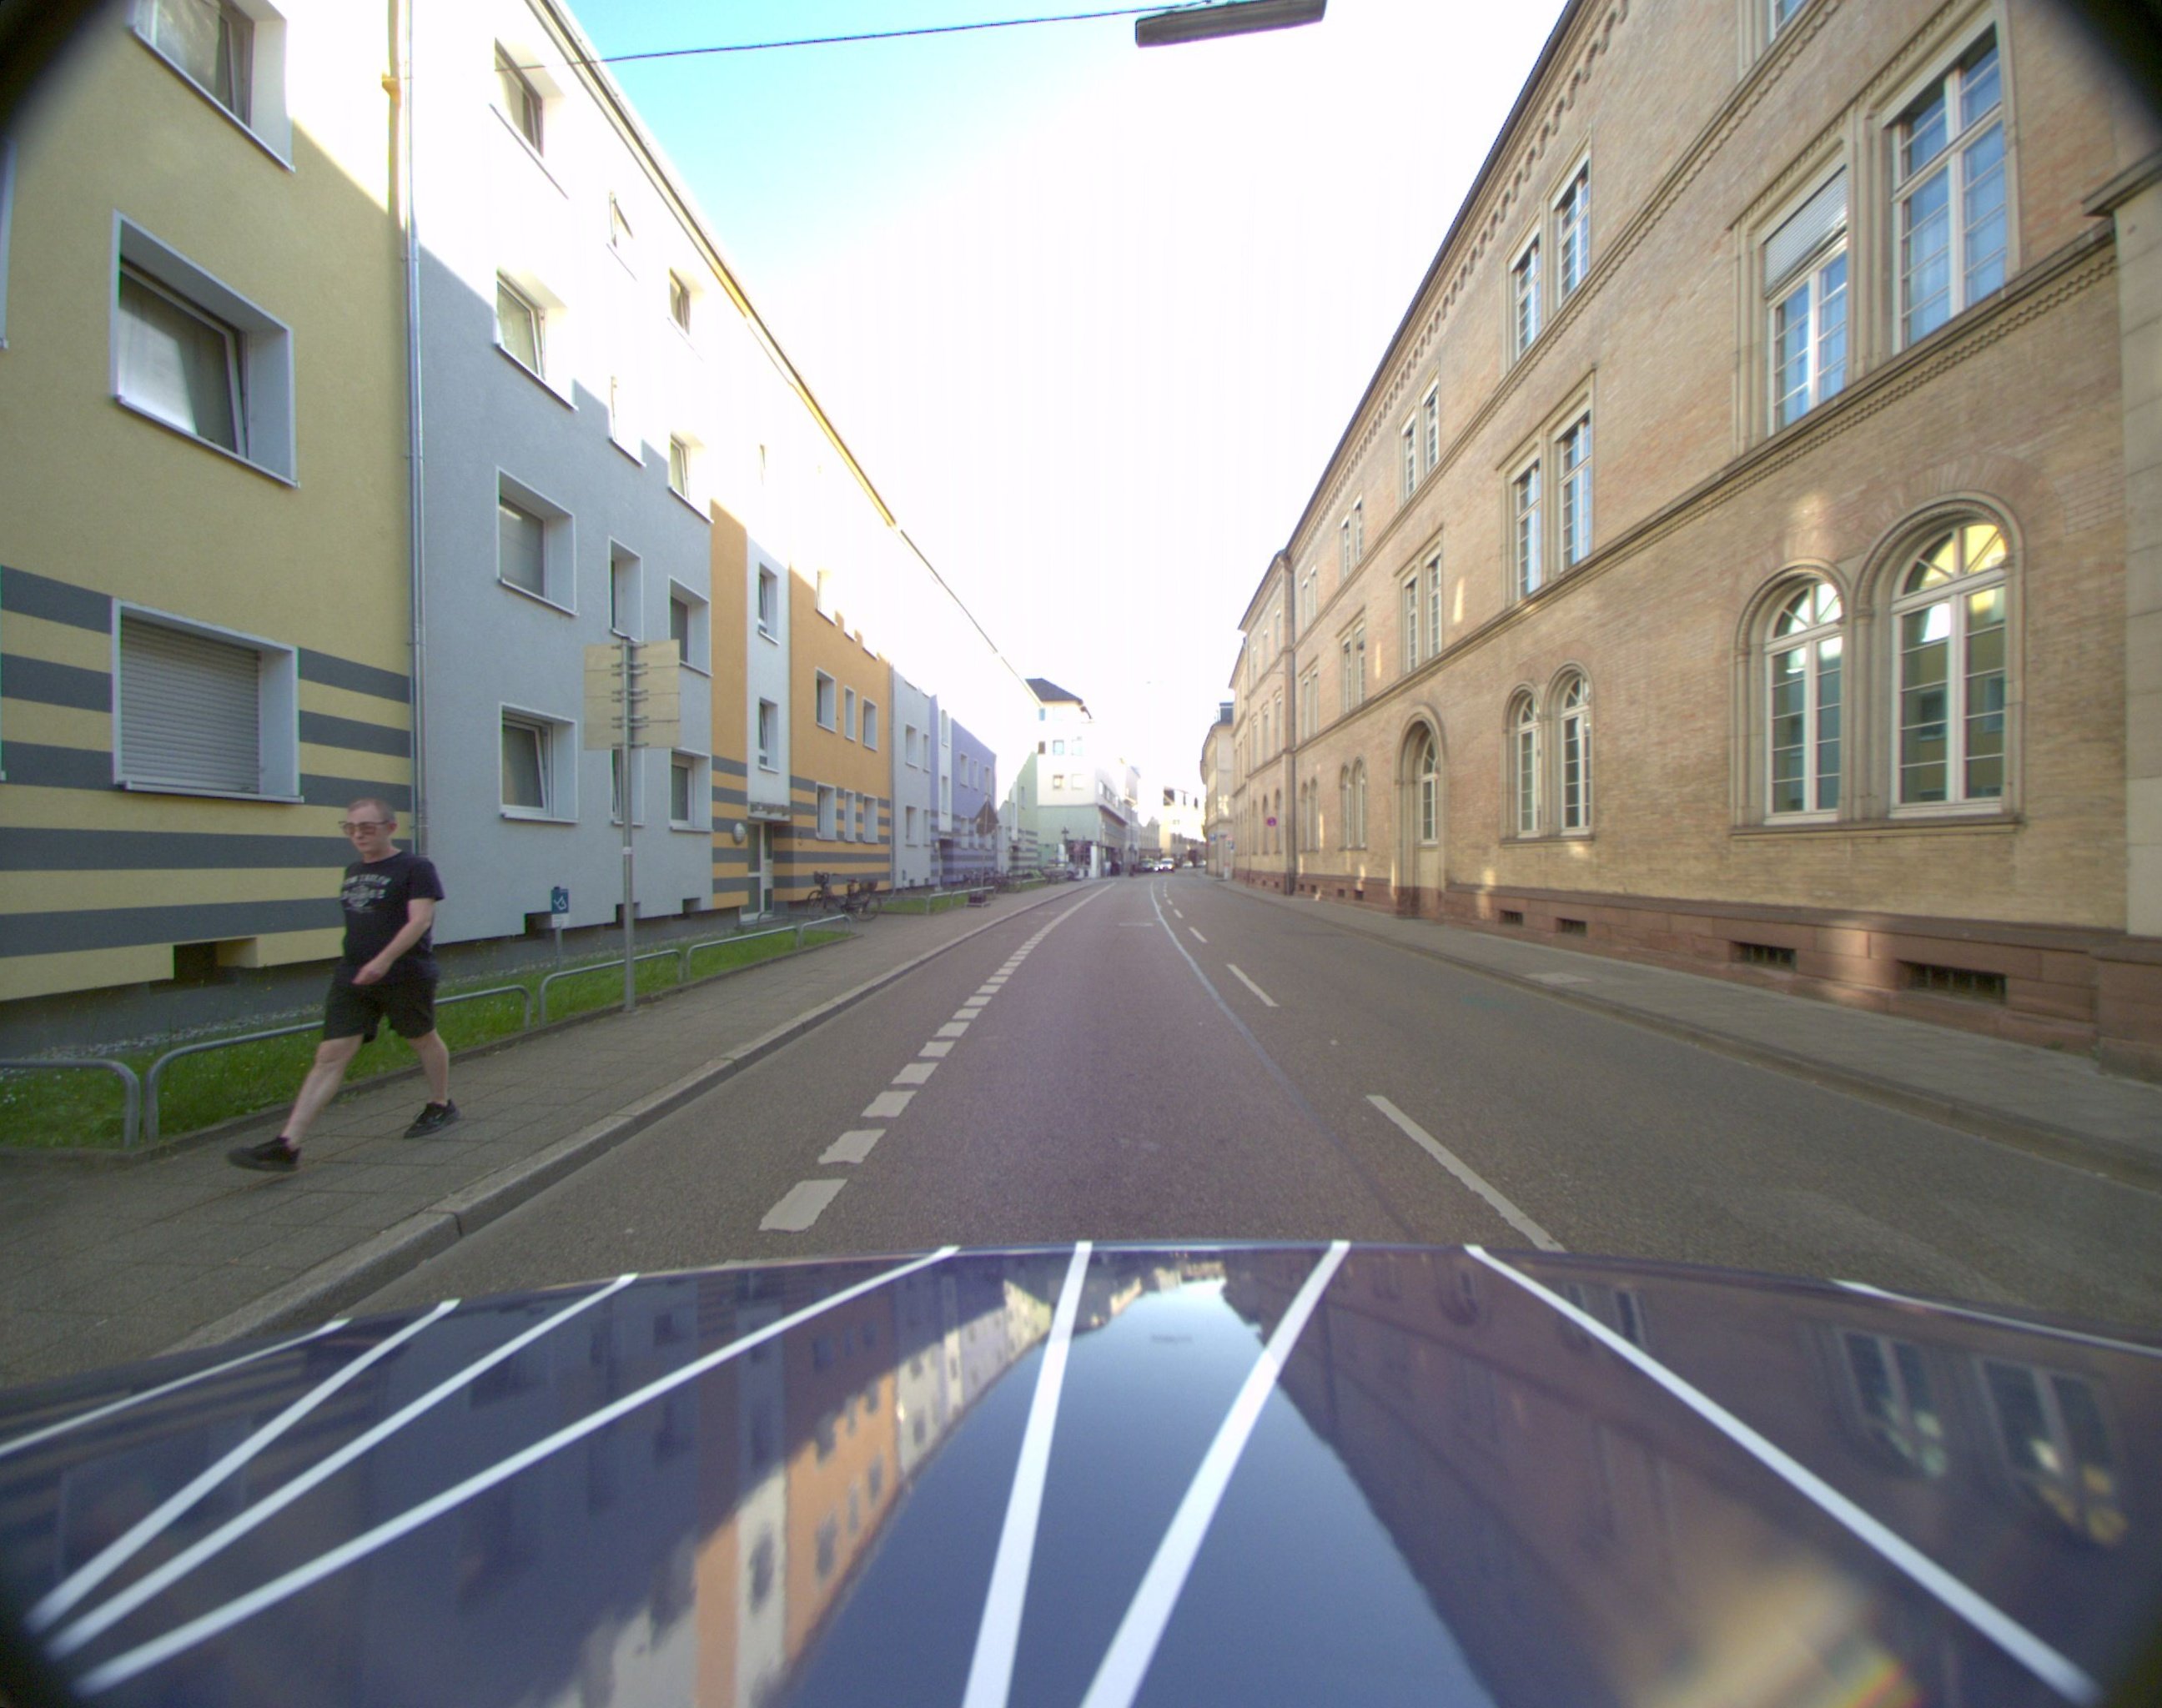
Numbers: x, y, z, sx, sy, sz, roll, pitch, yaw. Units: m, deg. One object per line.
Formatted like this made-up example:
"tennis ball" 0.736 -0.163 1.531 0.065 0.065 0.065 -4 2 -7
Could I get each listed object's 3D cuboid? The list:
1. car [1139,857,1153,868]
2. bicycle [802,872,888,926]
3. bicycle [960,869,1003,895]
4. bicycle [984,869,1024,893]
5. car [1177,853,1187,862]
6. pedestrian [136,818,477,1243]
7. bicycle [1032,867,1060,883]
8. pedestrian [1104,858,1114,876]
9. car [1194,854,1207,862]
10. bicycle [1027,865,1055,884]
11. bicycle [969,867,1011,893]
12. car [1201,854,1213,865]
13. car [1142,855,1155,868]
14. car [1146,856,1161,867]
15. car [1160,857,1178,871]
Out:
"car" 8.637 1.168 100.761 1.634 1.405 3.687 0 0 8
"bicycle" -5.291 1.003 17.094 1.711 1.152 0.636 1 0 -2
"bicycle" -4.153 1.156 31.847 1.710 1.039 0.636 1 0 2
"bicycle" -3.392 1.183 33.751 1.711 1.029 0.636 1 0 -2
"car" 19.917 0.699 149.642 1.534 1.714 3.743 0 0 16
"pedestrian" -3.675 0.751 3.698 0.646 1.778 0.916 3 1 4
"bicycle" -2.175 1.316 47.570 1.711 0.972 0.516 1 0 -2
"pedestrian" 2.392 1.139 65.981 0.707 1.510 0.662 0 0 17
"car" 25.755 0.895 163.615 1.925 1.714 4.236 0 0 19
"bicycle" -2.422 1.252 46.110 1.711 1.097 0.584 1 0 -2
"bicycle" -3.951 1.119 32.990 1.710 1.075 0.636 1 0 1
"car" 19.952 0.870 120.419 1.662 1.714 3.743 0 0 14
"car" 9.463 1.028 106.036 1.535 1.714 3.741 0 0 8
"car" 10.786 1.087 112.440 1.861 1.714 3.742 0 0 11
"car" 11.462 1.250 98.966 1.921 1.712 4.964 0 0 11
